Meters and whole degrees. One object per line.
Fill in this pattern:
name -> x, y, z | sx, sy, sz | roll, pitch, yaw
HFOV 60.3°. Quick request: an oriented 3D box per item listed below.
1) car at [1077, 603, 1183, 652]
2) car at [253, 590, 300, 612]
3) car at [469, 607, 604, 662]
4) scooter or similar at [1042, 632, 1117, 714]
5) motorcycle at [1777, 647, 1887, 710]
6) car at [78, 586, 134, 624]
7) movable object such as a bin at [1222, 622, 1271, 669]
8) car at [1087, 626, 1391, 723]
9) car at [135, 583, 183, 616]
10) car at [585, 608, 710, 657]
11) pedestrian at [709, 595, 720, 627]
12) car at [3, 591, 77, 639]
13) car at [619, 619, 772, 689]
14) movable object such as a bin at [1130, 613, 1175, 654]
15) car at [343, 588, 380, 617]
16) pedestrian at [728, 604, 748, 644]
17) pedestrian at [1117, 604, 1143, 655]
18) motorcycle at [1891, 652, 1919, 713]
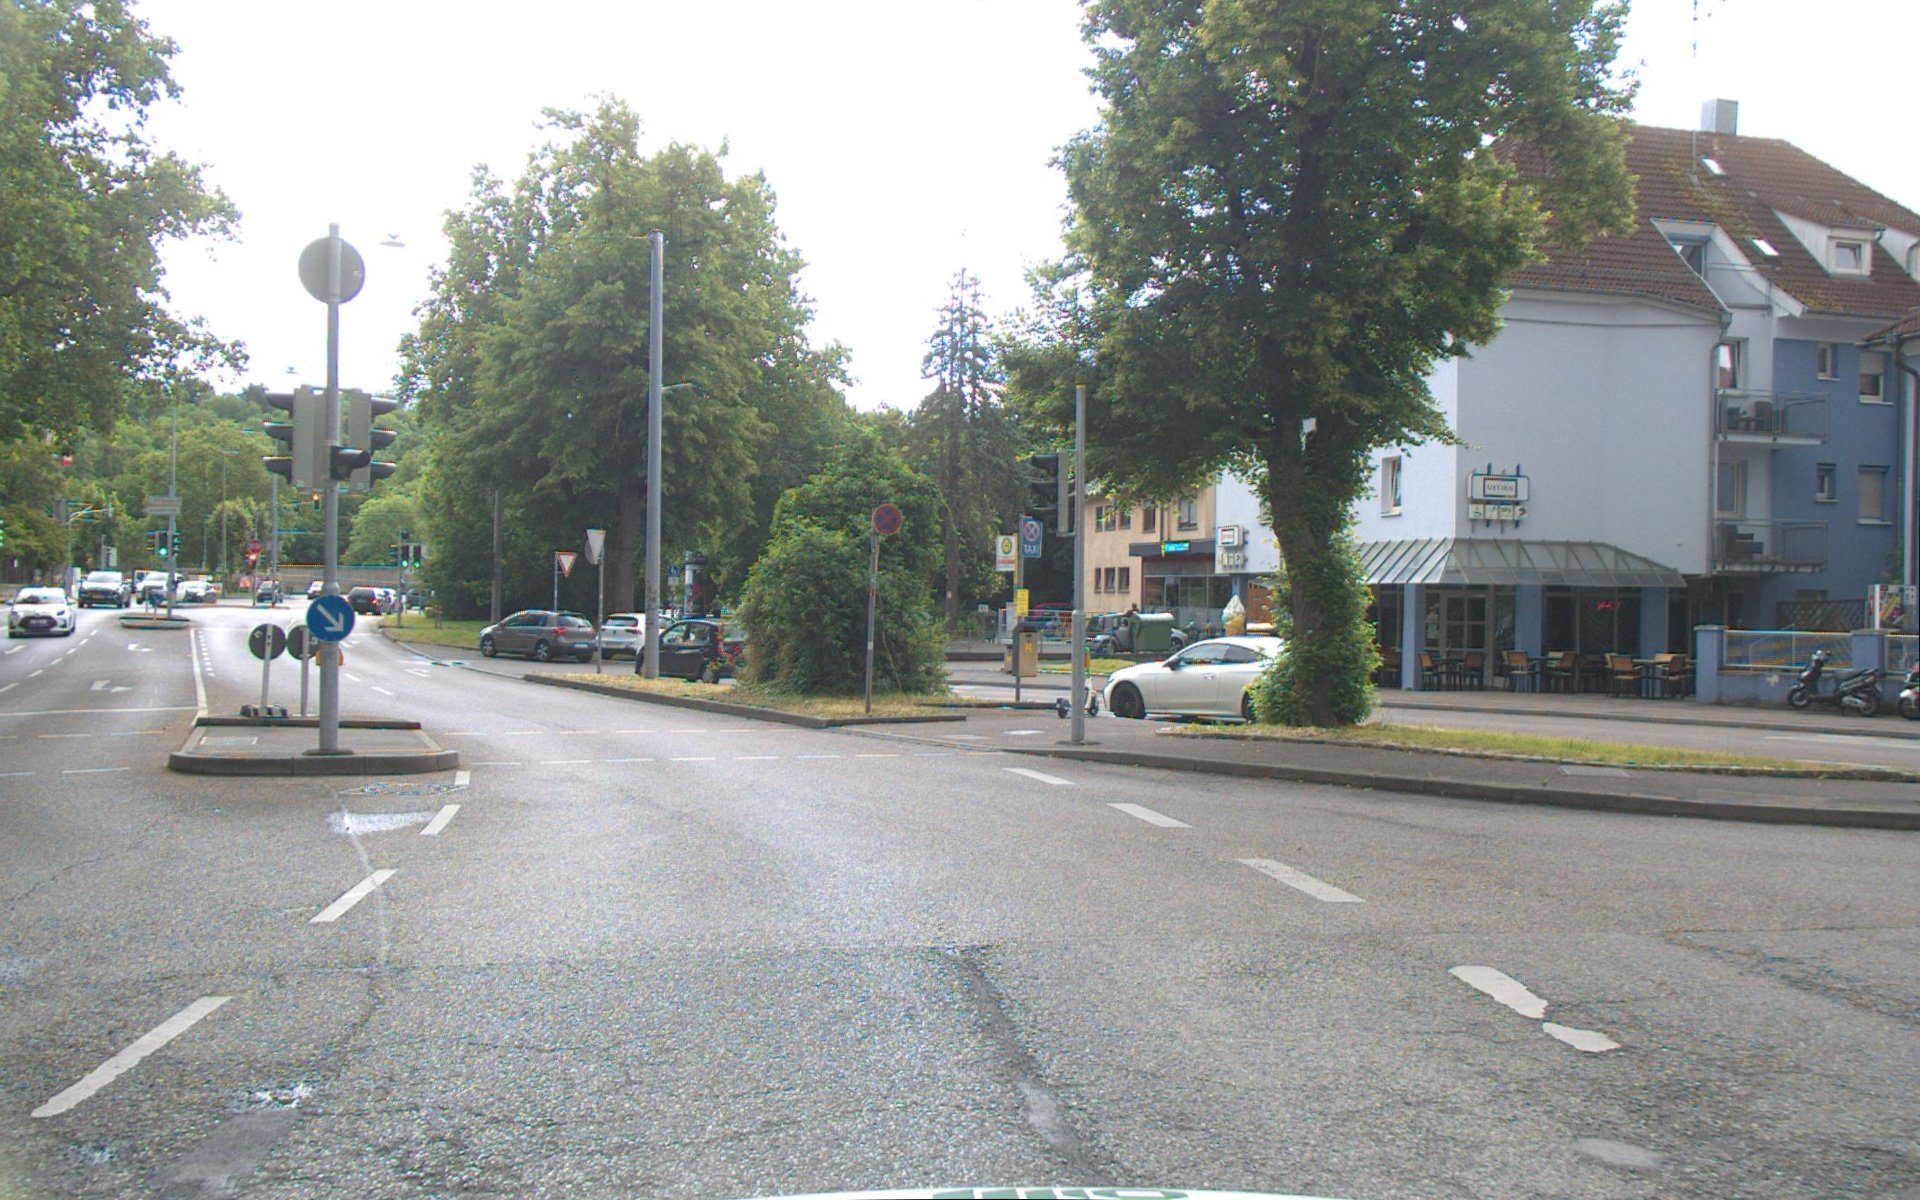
car -> 5.918, 0.946, 57.650 | 3.355, 1.659, 1.619 | 0, -1, -14
car -> -50.894, 0.061, 123.186 | 2.998, 1.259, 1.437 | 2, 13, -10
car -> -12.722, 1.007, 49.583 | 4.031, 1.454, 1.727 | 2, 1, 36
scooter or similar -> 1.795, 1.097, 24.731 | 0.404, 1.187, 1.356 | 0, -3, 37
motorcycle -> 15.501, 1.385, 29.442 | 0.484, 1.049, 1.703 | 1, -1, -35
car -> -40.128, 0.215, 77.793 | 1.770, 1.614, 4.389 | -2, 2, -20
movable object such as a bin -> 8.837, 1.392, 50.976 | 1.192, 1.441, 1.092 | 0, -1, -11
car -> 4.494, 1.154, 27.173 | 1.984, 1.411, 4.711 | 1, -1, -43
car -> -44.564, -0.047, 92.118 | 1.882, 1.794, 4.726 | 0, 1, -19
car -> -9.750, 0.996, 51.921 | 1.723, 1.405, 4.260 | 1, 0, 23
pedestrian -> -12.414, 0.555, 83.719 | 0.501, 1.558, 0.776 | 1, -1, -11
car -> -29.792, 0.473, 53.672 | 1.739, 1.492, 3.991 | -1, 0, -24
car -> -6.006, 1.187, 37.441 | 3.430, 1.429, 1.565 | 1, 0, 40
movable object such as a bin -> 6.463, 1.122, 55.613 | 1.198, 1.368, 0.989 | 0, -1, -20
car -> -32.981, 0.116, 91.220 | 1.795, 1.536, 4.549 | 1, 0, -19
pedestrian -> -8.906, 0.952, 66.326 | 0.673, 1.578, 0.738 | 1, 0, -20
pedestrian -> 5.830, 1.008, 56.700 | 0.677, 1.760, 0.608 | 0, -1, -20
motorcycle -> 16.489, 1.382, 27.436 | 0.516, 1.003, 1.800 | 1, -1, -35
